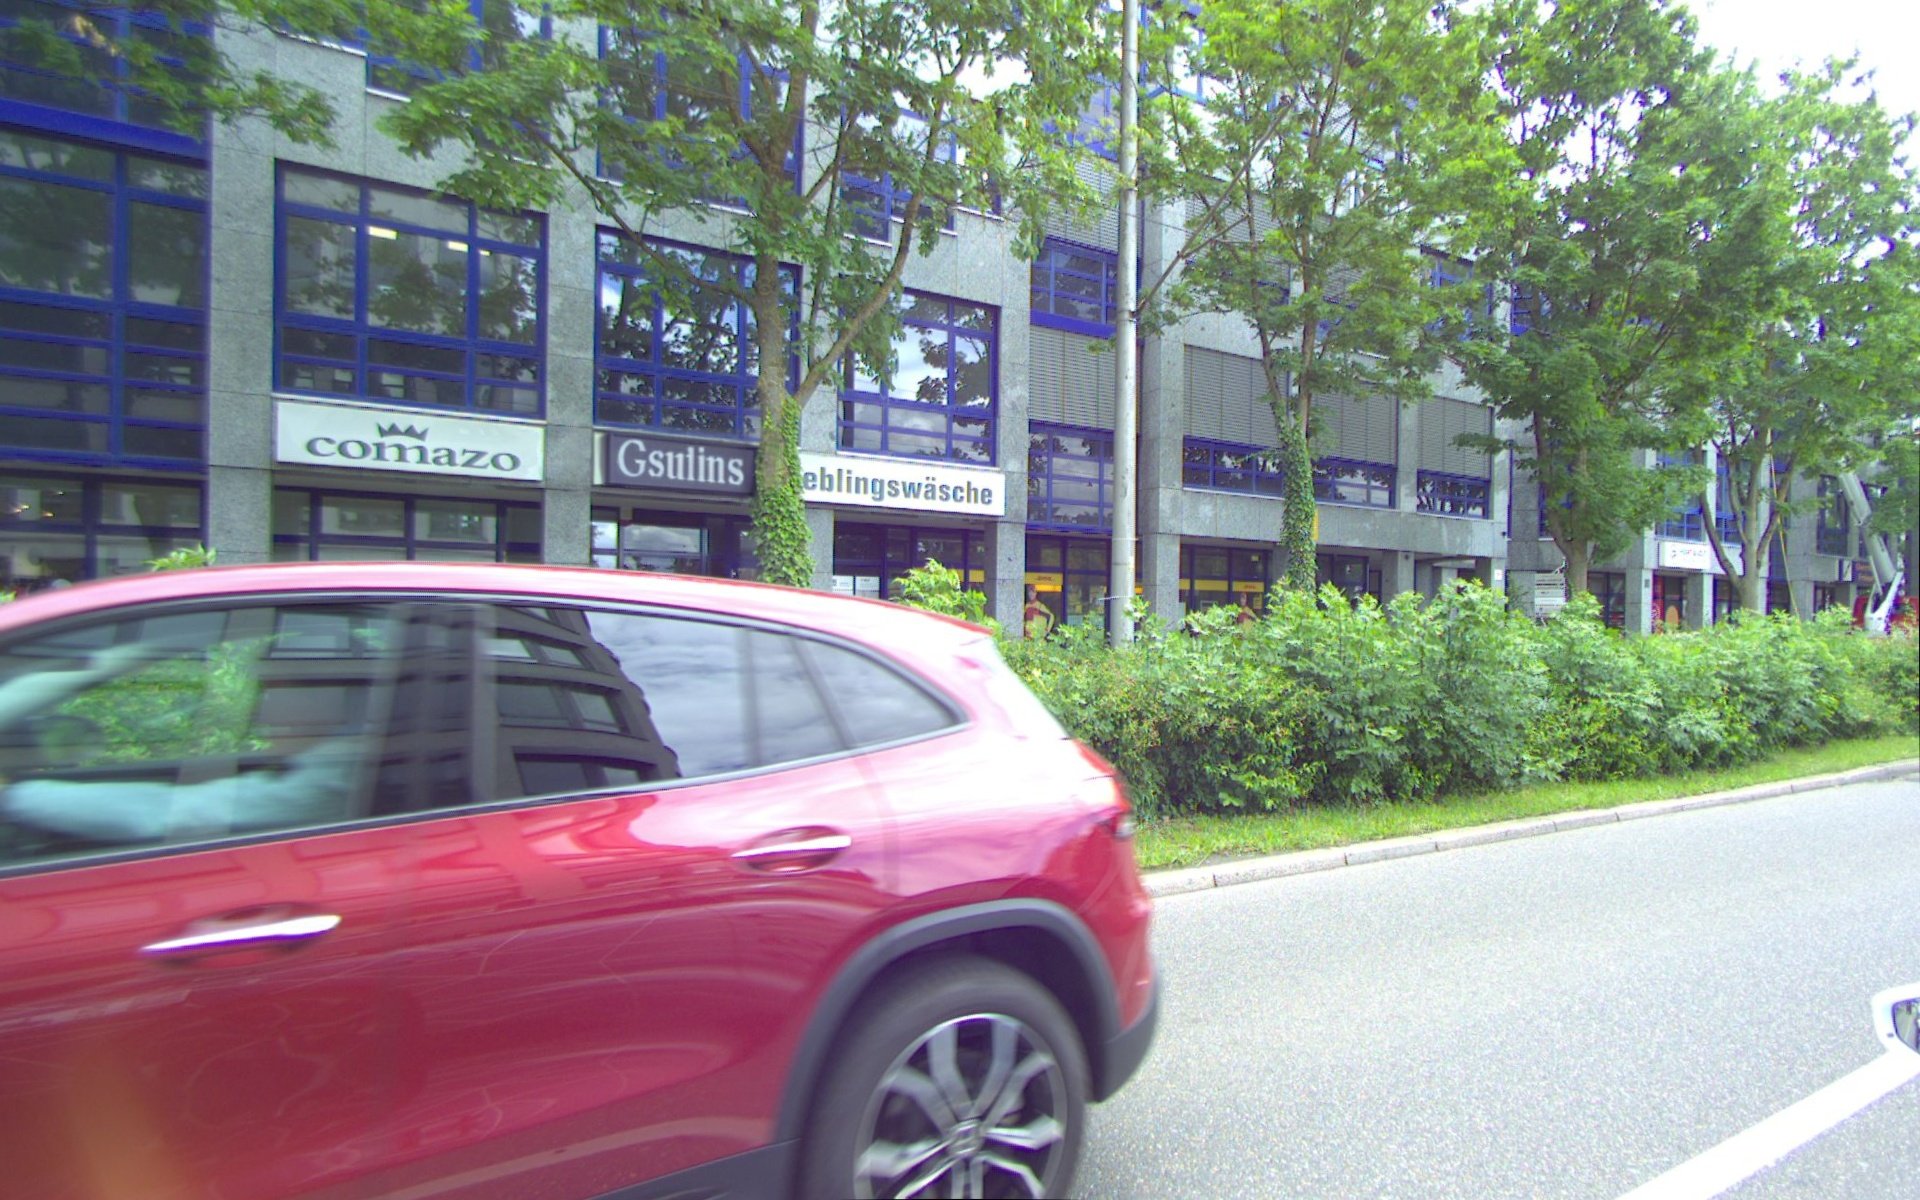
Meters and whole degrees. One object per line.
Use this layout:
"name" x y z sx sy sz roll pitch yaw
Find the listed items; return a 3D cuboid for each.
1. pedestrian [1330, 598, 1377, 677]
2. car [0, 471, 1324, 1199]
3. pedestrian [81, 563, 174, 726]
"pedestrian" 9.772 0.913 24.966 0.723 1.919 0.771 2 0 -30
"car" -1.302 0.683 2.351 4.066 1.601 1.840 2 -3 -29
"pedestrian" -10.216 0.538 12.359 0.723 1.919 0.770 2 0 -31
